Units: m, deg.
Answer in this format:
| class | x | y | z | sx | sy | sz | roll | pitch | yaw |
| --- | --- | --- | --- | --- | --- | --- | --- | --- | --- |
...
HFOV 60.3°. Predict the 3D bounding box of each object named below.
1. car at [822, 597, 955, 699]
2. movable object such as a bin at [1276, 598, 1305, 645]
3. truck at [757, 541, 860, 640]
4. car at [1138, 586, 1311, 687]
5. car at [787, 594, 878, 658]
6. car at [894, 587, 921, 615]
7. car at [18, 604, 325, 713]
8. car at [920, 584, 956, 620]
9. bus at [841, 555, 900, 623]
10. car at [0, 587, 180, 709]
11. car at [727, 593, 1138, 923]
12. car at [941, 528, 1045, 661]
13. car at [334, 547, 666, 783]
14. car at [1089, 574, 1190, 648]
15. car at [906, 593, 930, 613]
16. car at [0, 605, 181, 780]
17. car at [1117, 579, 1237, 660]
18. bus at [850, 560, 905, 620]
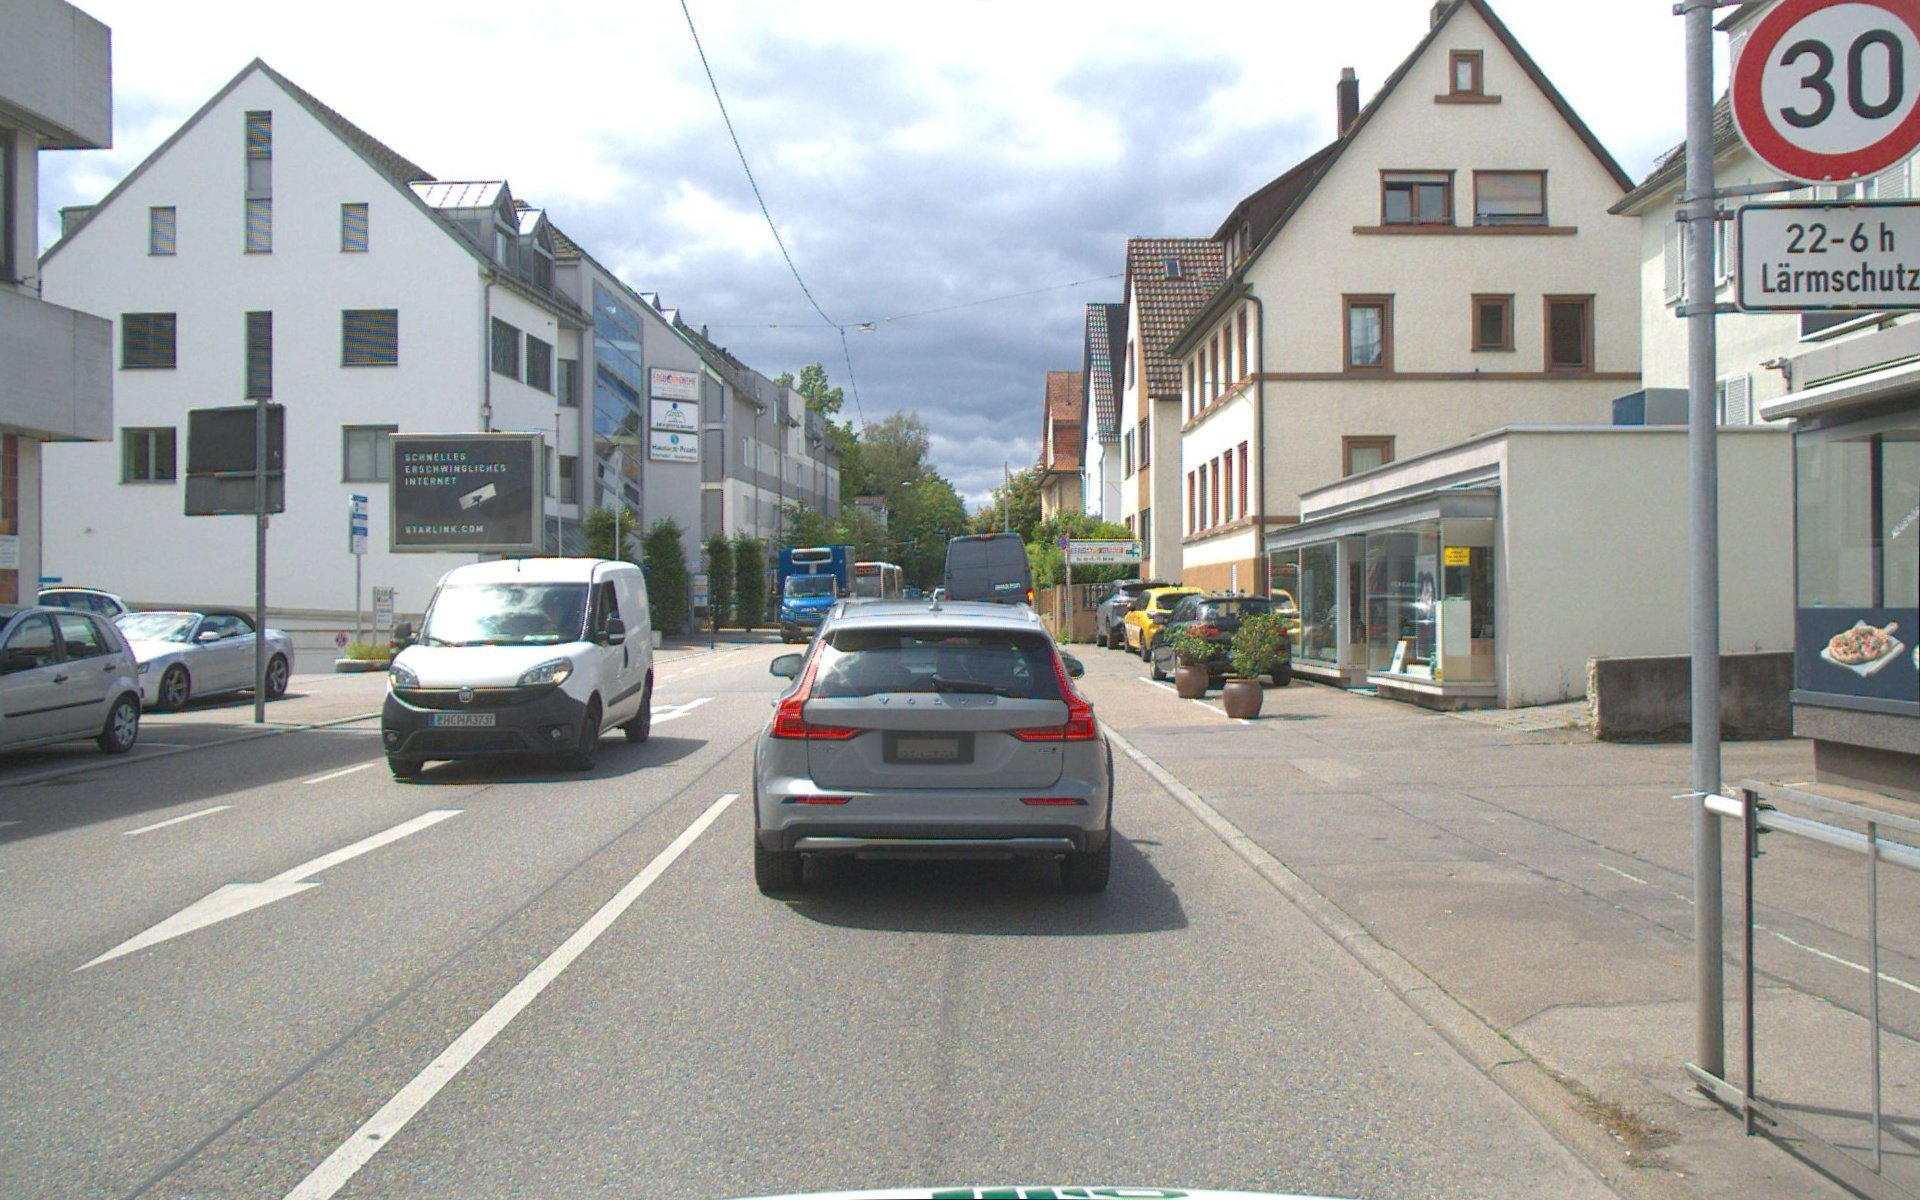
| class | x | y | z | sx | sy | sz | roll | pitch | yaw |
| --- | --- | --- | --- | --- | --- | --- | --- | --- | --- |
| car | -1.049 | 0.700 | 26.147 | 1.857 | 1.472 | 3.969 | 0 | 0 | 1 |
| movable object such as a bin | 6.694 | 0.435 | 33.550 | 0.490 | 0.941 | 0.598 | -1 | 0 | 3 |
| truck | -5.135 | -0.304 | 57.422 | 2.795 | 3.147 | 8.088 | -1 | 0 | 0 |
| car | 4.216 | 0.542 | 27.089 | 1.929 | 1.473 | 4.533 | -1 | 0 | -2 |
| car | -3.090 | 0.607 | 40.813 | 1.857 | 1.472 | 3.969 | 0 | 0 | 1 |
| car | -4.246 | 0.071 | 134.083 | 2.062 | 2.158 | 4.764 | -1 | 0 | -1 |
| car | -11.276 | 0.781 | 24.107 | 1.910 | 1.381 | 4.857 | -1 | 0 | 3 |
| car | -1.272 | 0.105 | 97.295 | 1.952 | 2.049 | 4.001 | 0 | 0 | 1 |
| bus | -4.476 | -0.526 | 84.336 | 2.628 | 3.219 | 10.181 | -1 | 0 | -2 |
| car | -13.846 | 0.691 | 24.381 | 1.910 | 1.647 | 4.933 | -3 | 0 | 6 |
| car | -0.081 | 0.707 | 9.487 | 1.857 | 1.479 | 3.969 | 0 | 0 | 1 |
| car | 0.702 | -0.124 | 38.585 | 2.206 | 2.844 | 5.569 | -1 | 0 | 0 |
| car | -4.045 | 0.506 | 15.333 | 1.906 | 1.852 | 4.277 | -1 | 0 | -1 |
| car | 4.315 | 0.245 | 40.388 | 1.823 | 1.640 | 4.585 | -2 | 0 | -1 |
| car | -3.643 | 0.268 | 145.144 | 2.062 | 1.739 | 4.764 | -1 | 0 | -1 |
| car | -9.013 | 0.799 | 15.138 | 1.686 | 1.447 | 4.149 | 1 | 0 | 2 |
| car | 4.604 | 0.372 | 35.603 | 1.839 | 1.472 | 4.306 | -1 | 2 | -2 |
| bus | -4.598 | -0.552 | 93.430 | 2.660 | 3.219 | 8.068 | -1 | 0 | 0 |
